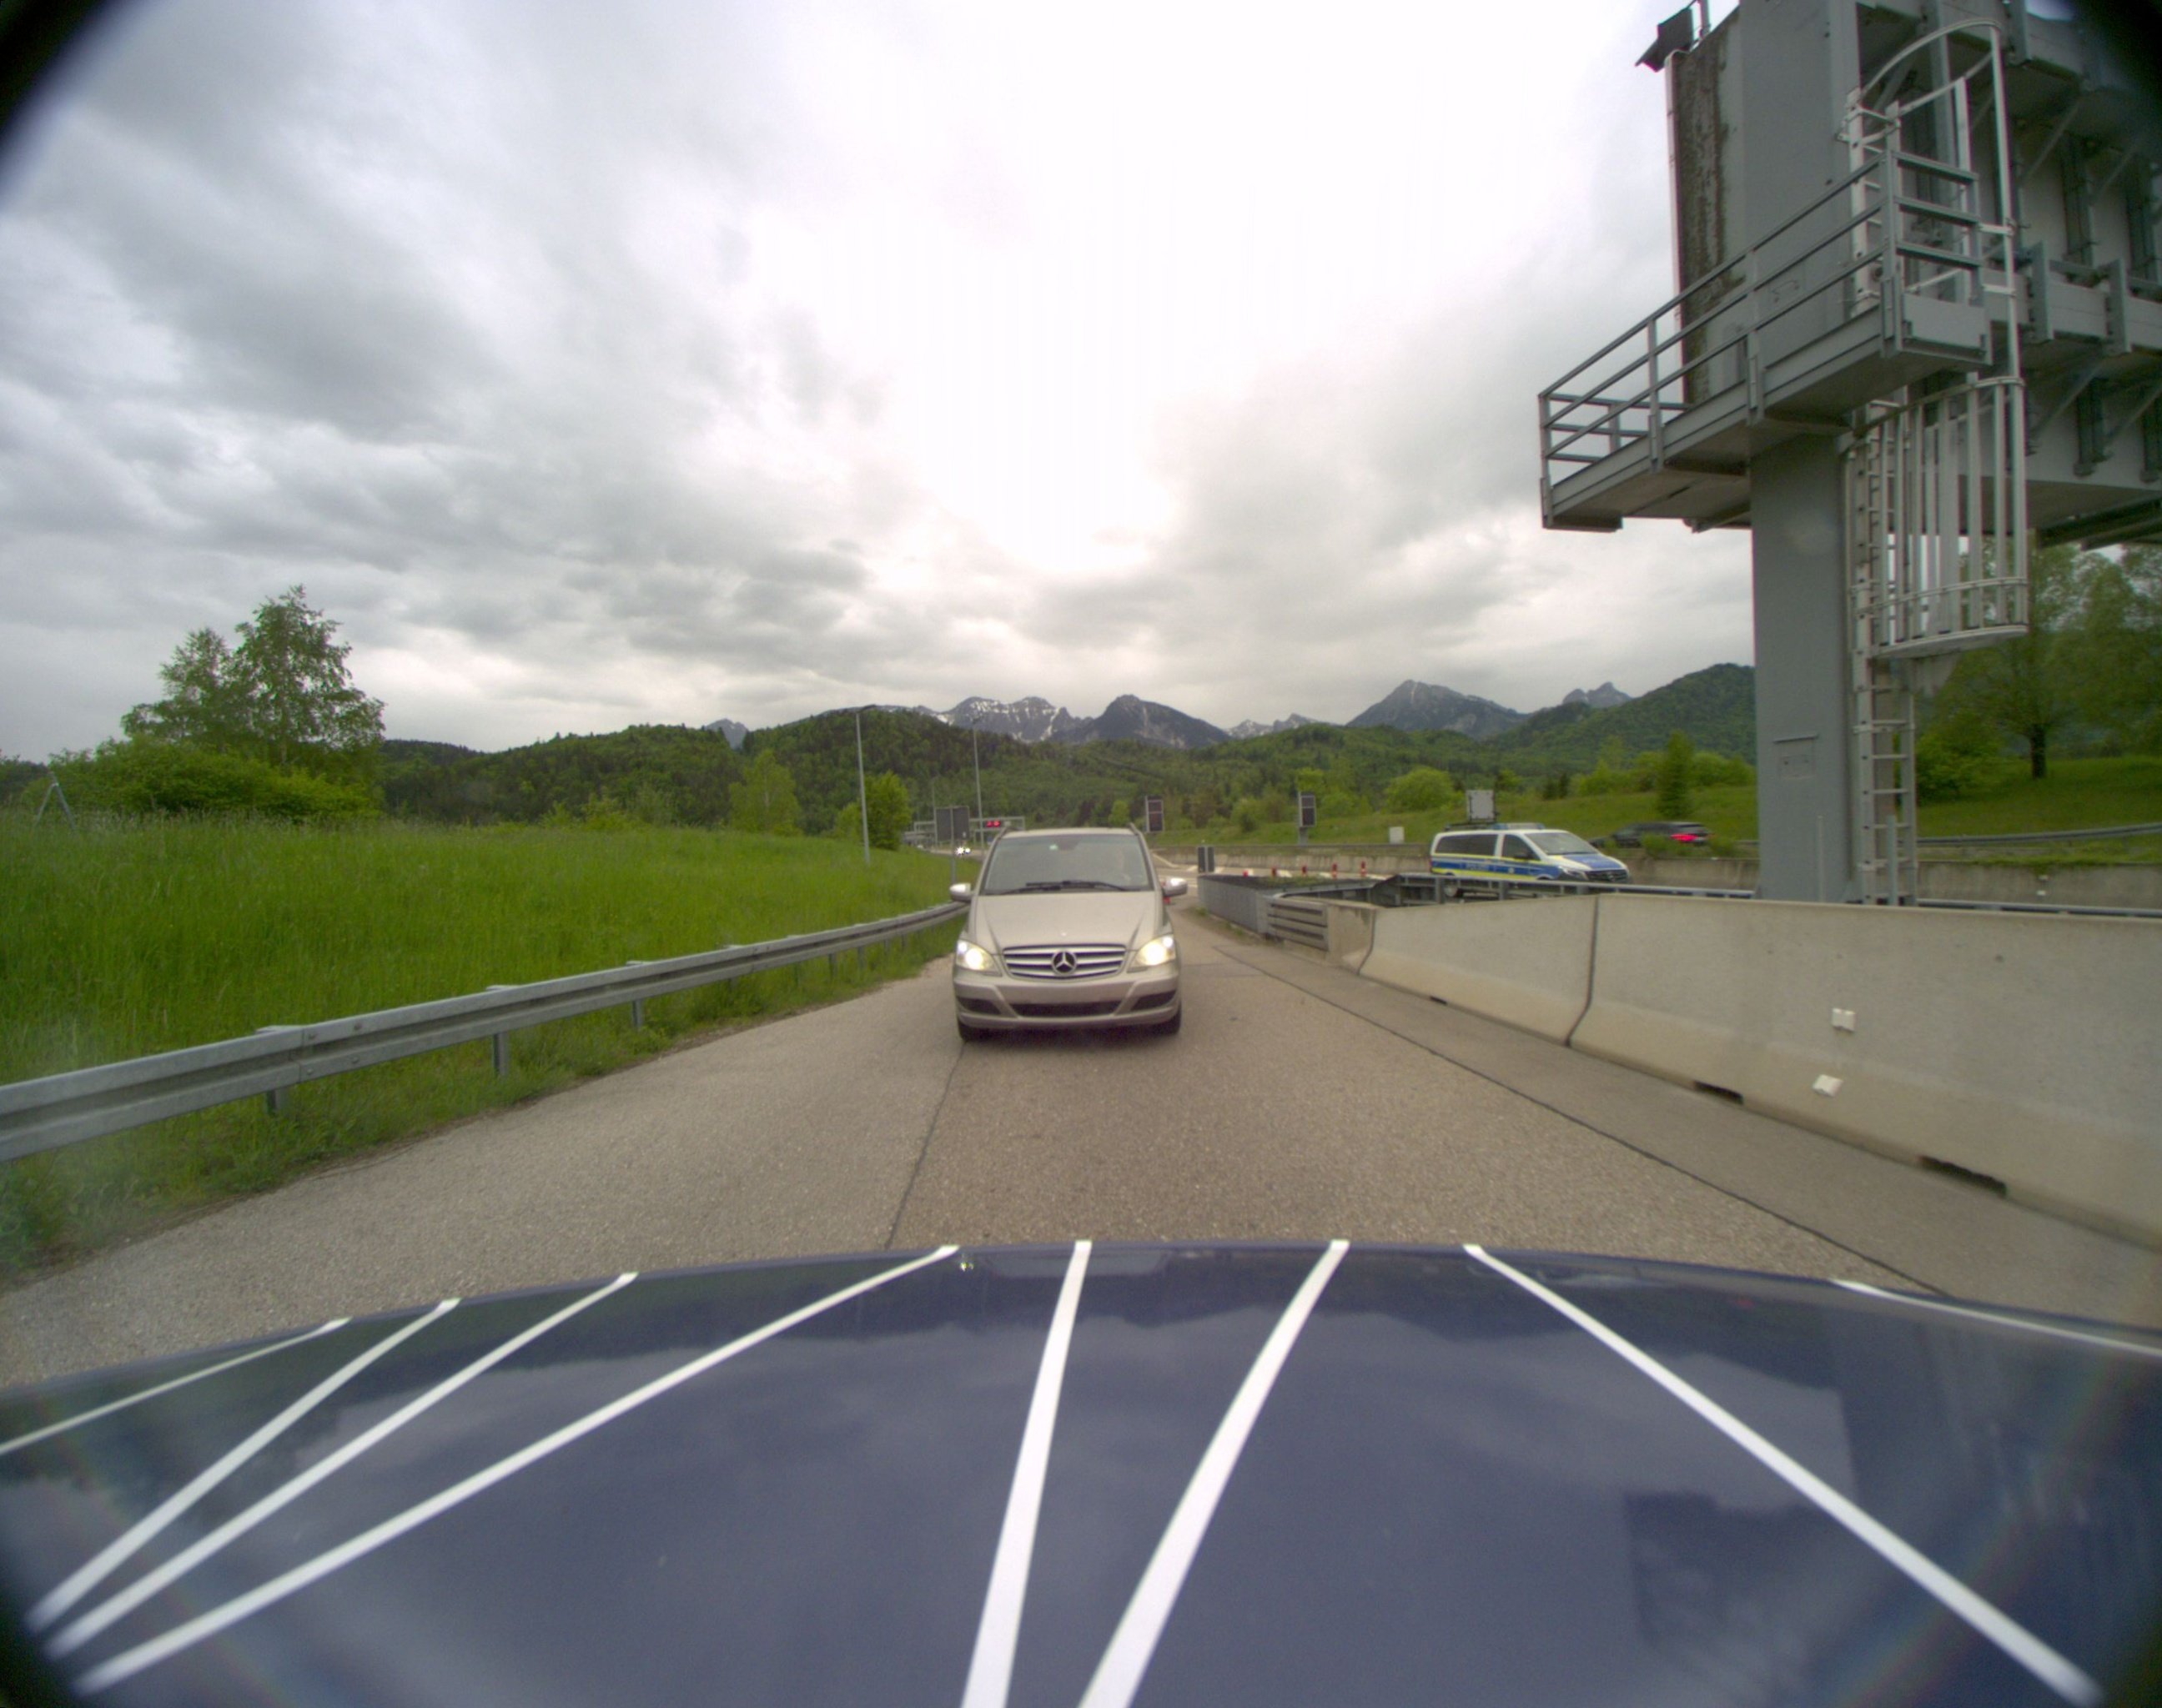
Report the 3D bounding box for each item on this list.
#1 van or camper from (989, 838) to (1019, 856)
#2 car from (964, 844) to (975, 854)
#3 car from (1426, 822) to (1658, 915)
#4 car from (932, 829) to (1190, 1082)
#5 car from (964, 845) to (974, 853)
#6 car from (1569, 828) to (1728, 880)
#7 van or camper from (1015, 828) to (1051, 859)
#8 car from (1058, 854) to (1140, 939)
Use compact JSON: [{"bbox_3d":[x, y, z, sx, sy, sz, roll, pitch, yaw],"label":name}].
[{"bbox_3d":[-11.875,-1.110,116.987,3.345,2.629,8.189,-2,1,-15],"label":"van or camper"},{"bbox_3d":[-23.734,-1.062,161.248,1.868,1.861,3.994,-2,1,-14],"label":"car"},{"bbox_3d":[11.324,0.280,19.228,2.106,2.002,5.045,-2,1,-13],"label":"car"},{"bbox_3d":[-0.110,0.711,8.378,1.862,1.833,5.616,-1,1,1],"label":"car"},{"bbox_3d":[-24.013,-1.145,162.531,1.722,1.629,4.343,-1,1,-12],"label":"car"},{"bbox_3d":[23.161,-0.019,31.323,1.992,1.944,5.102,-1,1,-15],"label":"car"},{"bbox_3d":[-5.483,-1.161,85.252,2.585,3.372,7.345,-2,1,-14],"label":"van or camper"},{"bbox_3d":[0.400,0.846,17.226,1.591,1.662,4.000,-1,0,1],"label":"car"}]
